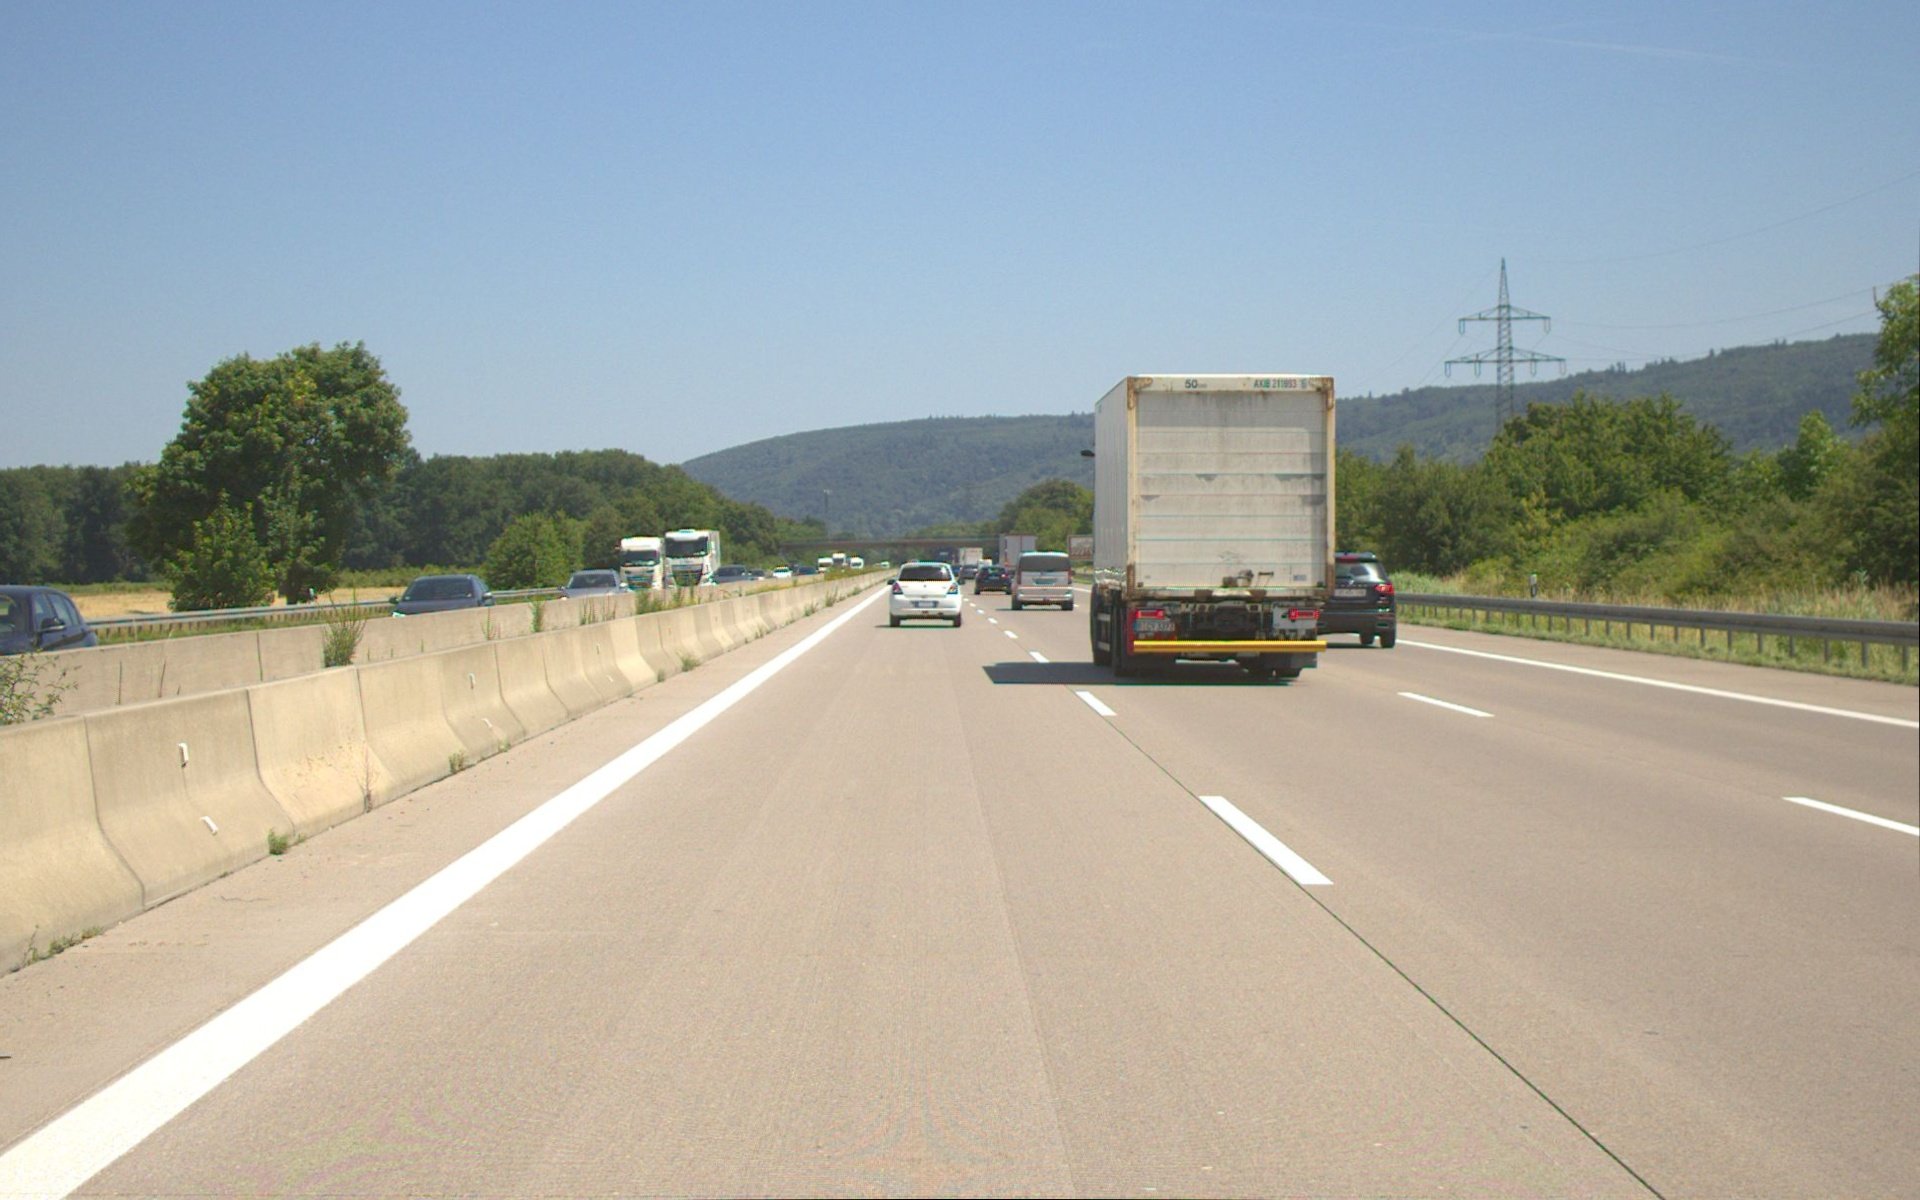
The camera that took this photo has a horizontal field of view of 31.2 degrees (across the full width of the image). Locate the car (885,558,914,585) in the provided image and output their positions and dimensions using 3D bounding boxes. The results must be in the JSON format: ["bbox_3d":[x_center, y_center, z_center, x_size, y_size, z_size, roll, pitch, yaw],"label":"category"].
[{"bbox_3d":[-4.046,-1.903,229.360,1.928,1.788,4.000,1,1,-1],"label":"car"}]

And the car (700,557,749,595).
[{"bbox_3d":[-10.905,-1.134,159.343,1.863,1.723,4.140,1,1,1],"label":"car"}]

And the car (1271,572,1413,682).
[{"bbox_3d":[6.918,0.467,62.704,1.993,1.842,4.000,2,1,-1],"label":"car"}]

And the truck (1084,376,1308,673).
[{"bbox_3d":[3.186,-1.018,47.559,2.580,3.864,4.984,1,1,-1],"label":"truck"}]

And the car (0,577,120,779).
[{"bbox_3d":[-9.640,0.680,33.070,1.993,1.777,4.744,1,1,-1],"label":"car"}]

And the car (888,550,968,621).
[{"bbox_3d":[-0.779,-0.359,81.644,1.819,1.656,4.000,0,1,-1],"label":"car"}]

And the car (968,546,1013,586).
[{"bbox_3d":[1.489,-1.665,168.927,1.993,1.842,4.000,2,1,-2],"label":"car"}]

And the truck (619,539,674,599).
[{"bbox_3d":[-19.538,-1.954,214.818,2.803,3.674,7.236,1,1,0],"label":"truck"}]

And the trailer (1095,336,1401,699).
[{"bbox_3d":[3.298,-0.949,42.093,2.580,3.864,10.374,1,1,-1],"label":"trailer"}]

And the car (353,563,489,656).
[{"bbox_3d":[-10.036,0.139,64.356,1.904,1.645,4.934,1,1,-2],"label":"car"}]

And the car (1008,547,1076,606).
[{"bbox_3d":[2.648,-0.775,112.087,1.993,1.842,4.000,1,1,-1],"label":"car"}]

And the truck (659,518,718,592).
[{"bbox_3d":[-14.995,-2.484,190.038,2.900,3.956,5.046,1,1,-1],"label":"truck"}]

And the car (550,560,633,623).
[{"bbox_3d":[-10.374,-0.262,97.127,1.882,1.689,4.682,1,1,-1],"label":"car"}]
